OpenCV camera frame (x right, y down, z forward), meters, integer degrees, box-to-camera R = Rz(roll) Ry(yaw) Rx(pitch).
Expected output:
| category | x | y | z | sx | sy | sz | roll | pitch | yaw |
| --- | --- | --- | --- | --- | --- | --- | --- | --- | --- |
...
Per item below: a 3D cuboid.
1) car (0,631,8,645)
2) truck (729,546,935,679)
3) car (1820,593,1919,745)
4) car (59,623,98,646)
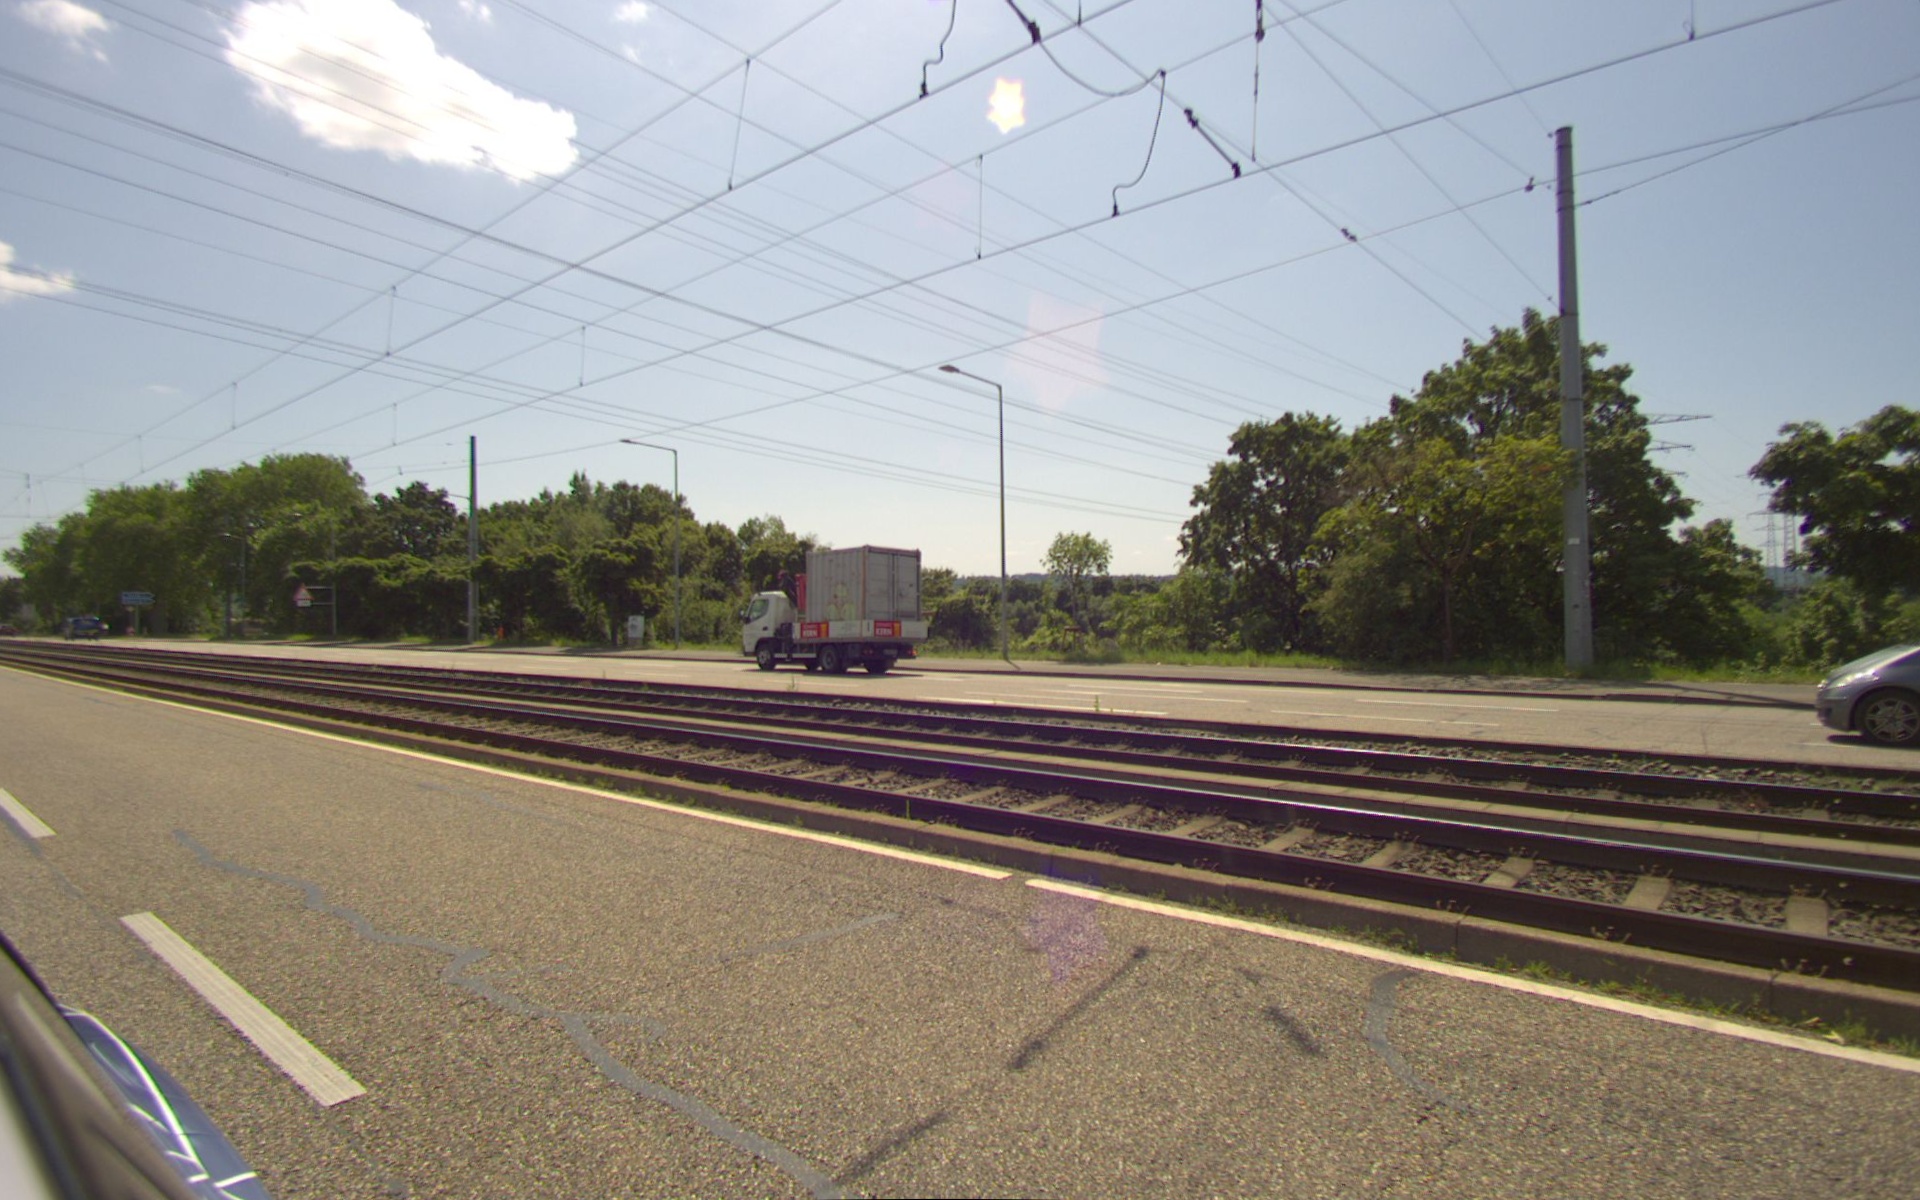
| category | x | y | z | sx | sy | sz | roll | pitch | yaw |
| --- | --- | --- | --- | --- | --- | --- | --- | --- | --- |
| car | -119.569 | 4.698 | 125.425 | 4.209 | 1.638 | 1.783 | -2 | -3 | 41 |
| truck | -3.635 | 0.377 | 27.749 | 6.041 | 3.261 | 2.225 | -2 | -2 | 43 |
| car | 11.279 | 0.693 | 10.170 | 3.954 | 1.547 | 1.734 | -2 | -2 | 40 |
| car | -76.915 | 3.015 | 88.303 | 5.005 | 1.942 | 1.838 | -2 | -3 | 41 |
